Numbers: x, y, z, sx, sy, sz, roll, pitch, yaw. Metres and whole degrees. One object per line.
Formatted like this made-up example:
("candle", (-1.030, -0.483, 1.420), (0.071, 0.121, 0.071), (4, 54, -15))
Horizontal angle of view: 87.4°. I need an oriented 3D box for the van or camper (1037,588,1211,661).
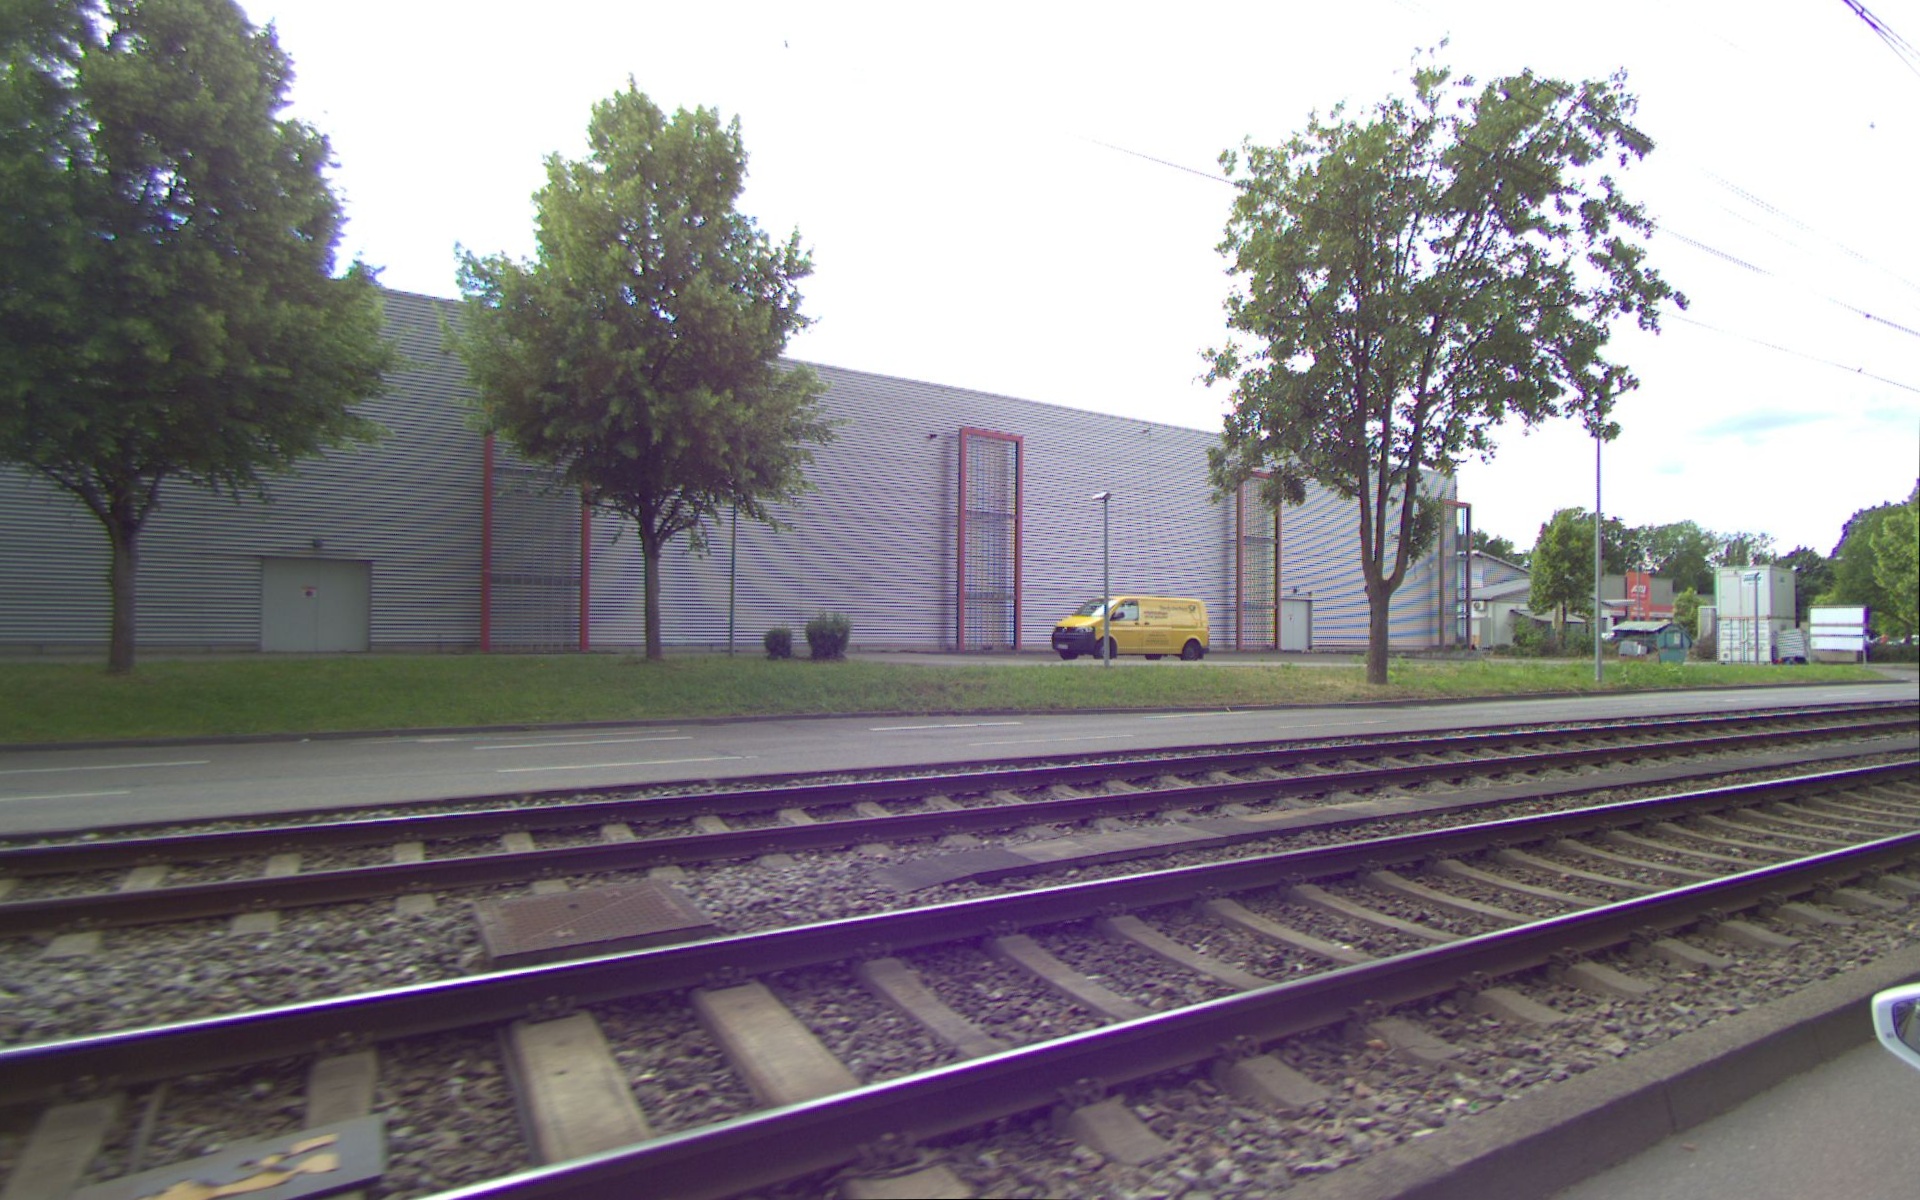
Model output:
("van or camper", (5.001, 0.764, 30.337), (5.187, 2.040, 2.091), (2, -2, -34))
